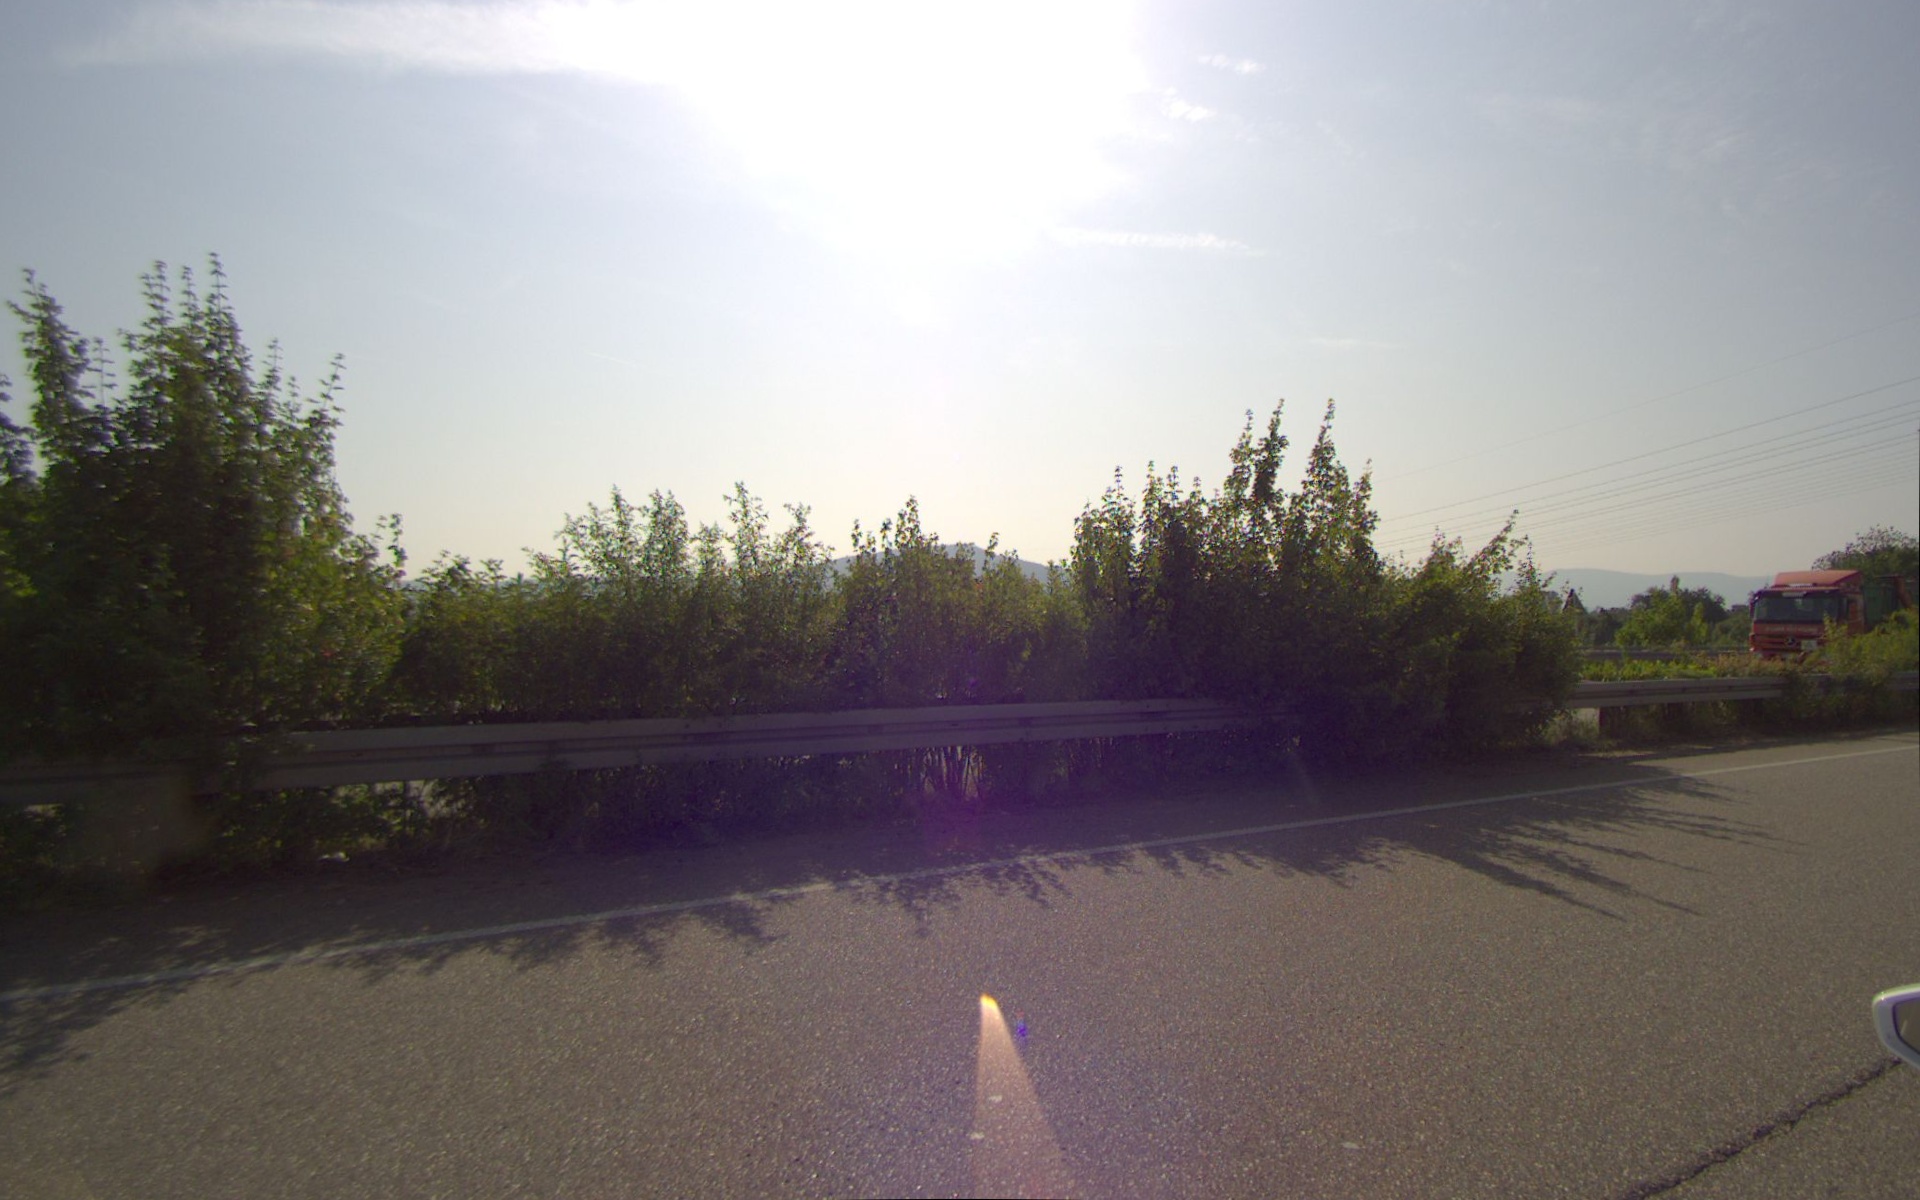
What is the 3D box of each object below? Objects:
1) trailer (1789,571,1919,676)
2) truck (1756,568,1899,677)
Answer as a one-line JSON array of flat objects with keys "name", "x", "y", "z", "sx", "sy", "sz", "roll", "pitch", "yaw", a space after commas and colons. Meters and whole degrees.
[{"name": "trailer", "x": 34.754, "y": 0.920, "z": 37.122, "sx": 13.270, "sy": 3.420, "sz": 1.984, "roll": 1, "pitch": -1, "yaw": -31}, {"name": "truck", "x": 29.296, "y": 0.782, "z": 33.885, "sx": 5.563, "sy": 3.420, "sz": 1.984, "roll": 1, "pitch": -1, "yaw": -31}]
